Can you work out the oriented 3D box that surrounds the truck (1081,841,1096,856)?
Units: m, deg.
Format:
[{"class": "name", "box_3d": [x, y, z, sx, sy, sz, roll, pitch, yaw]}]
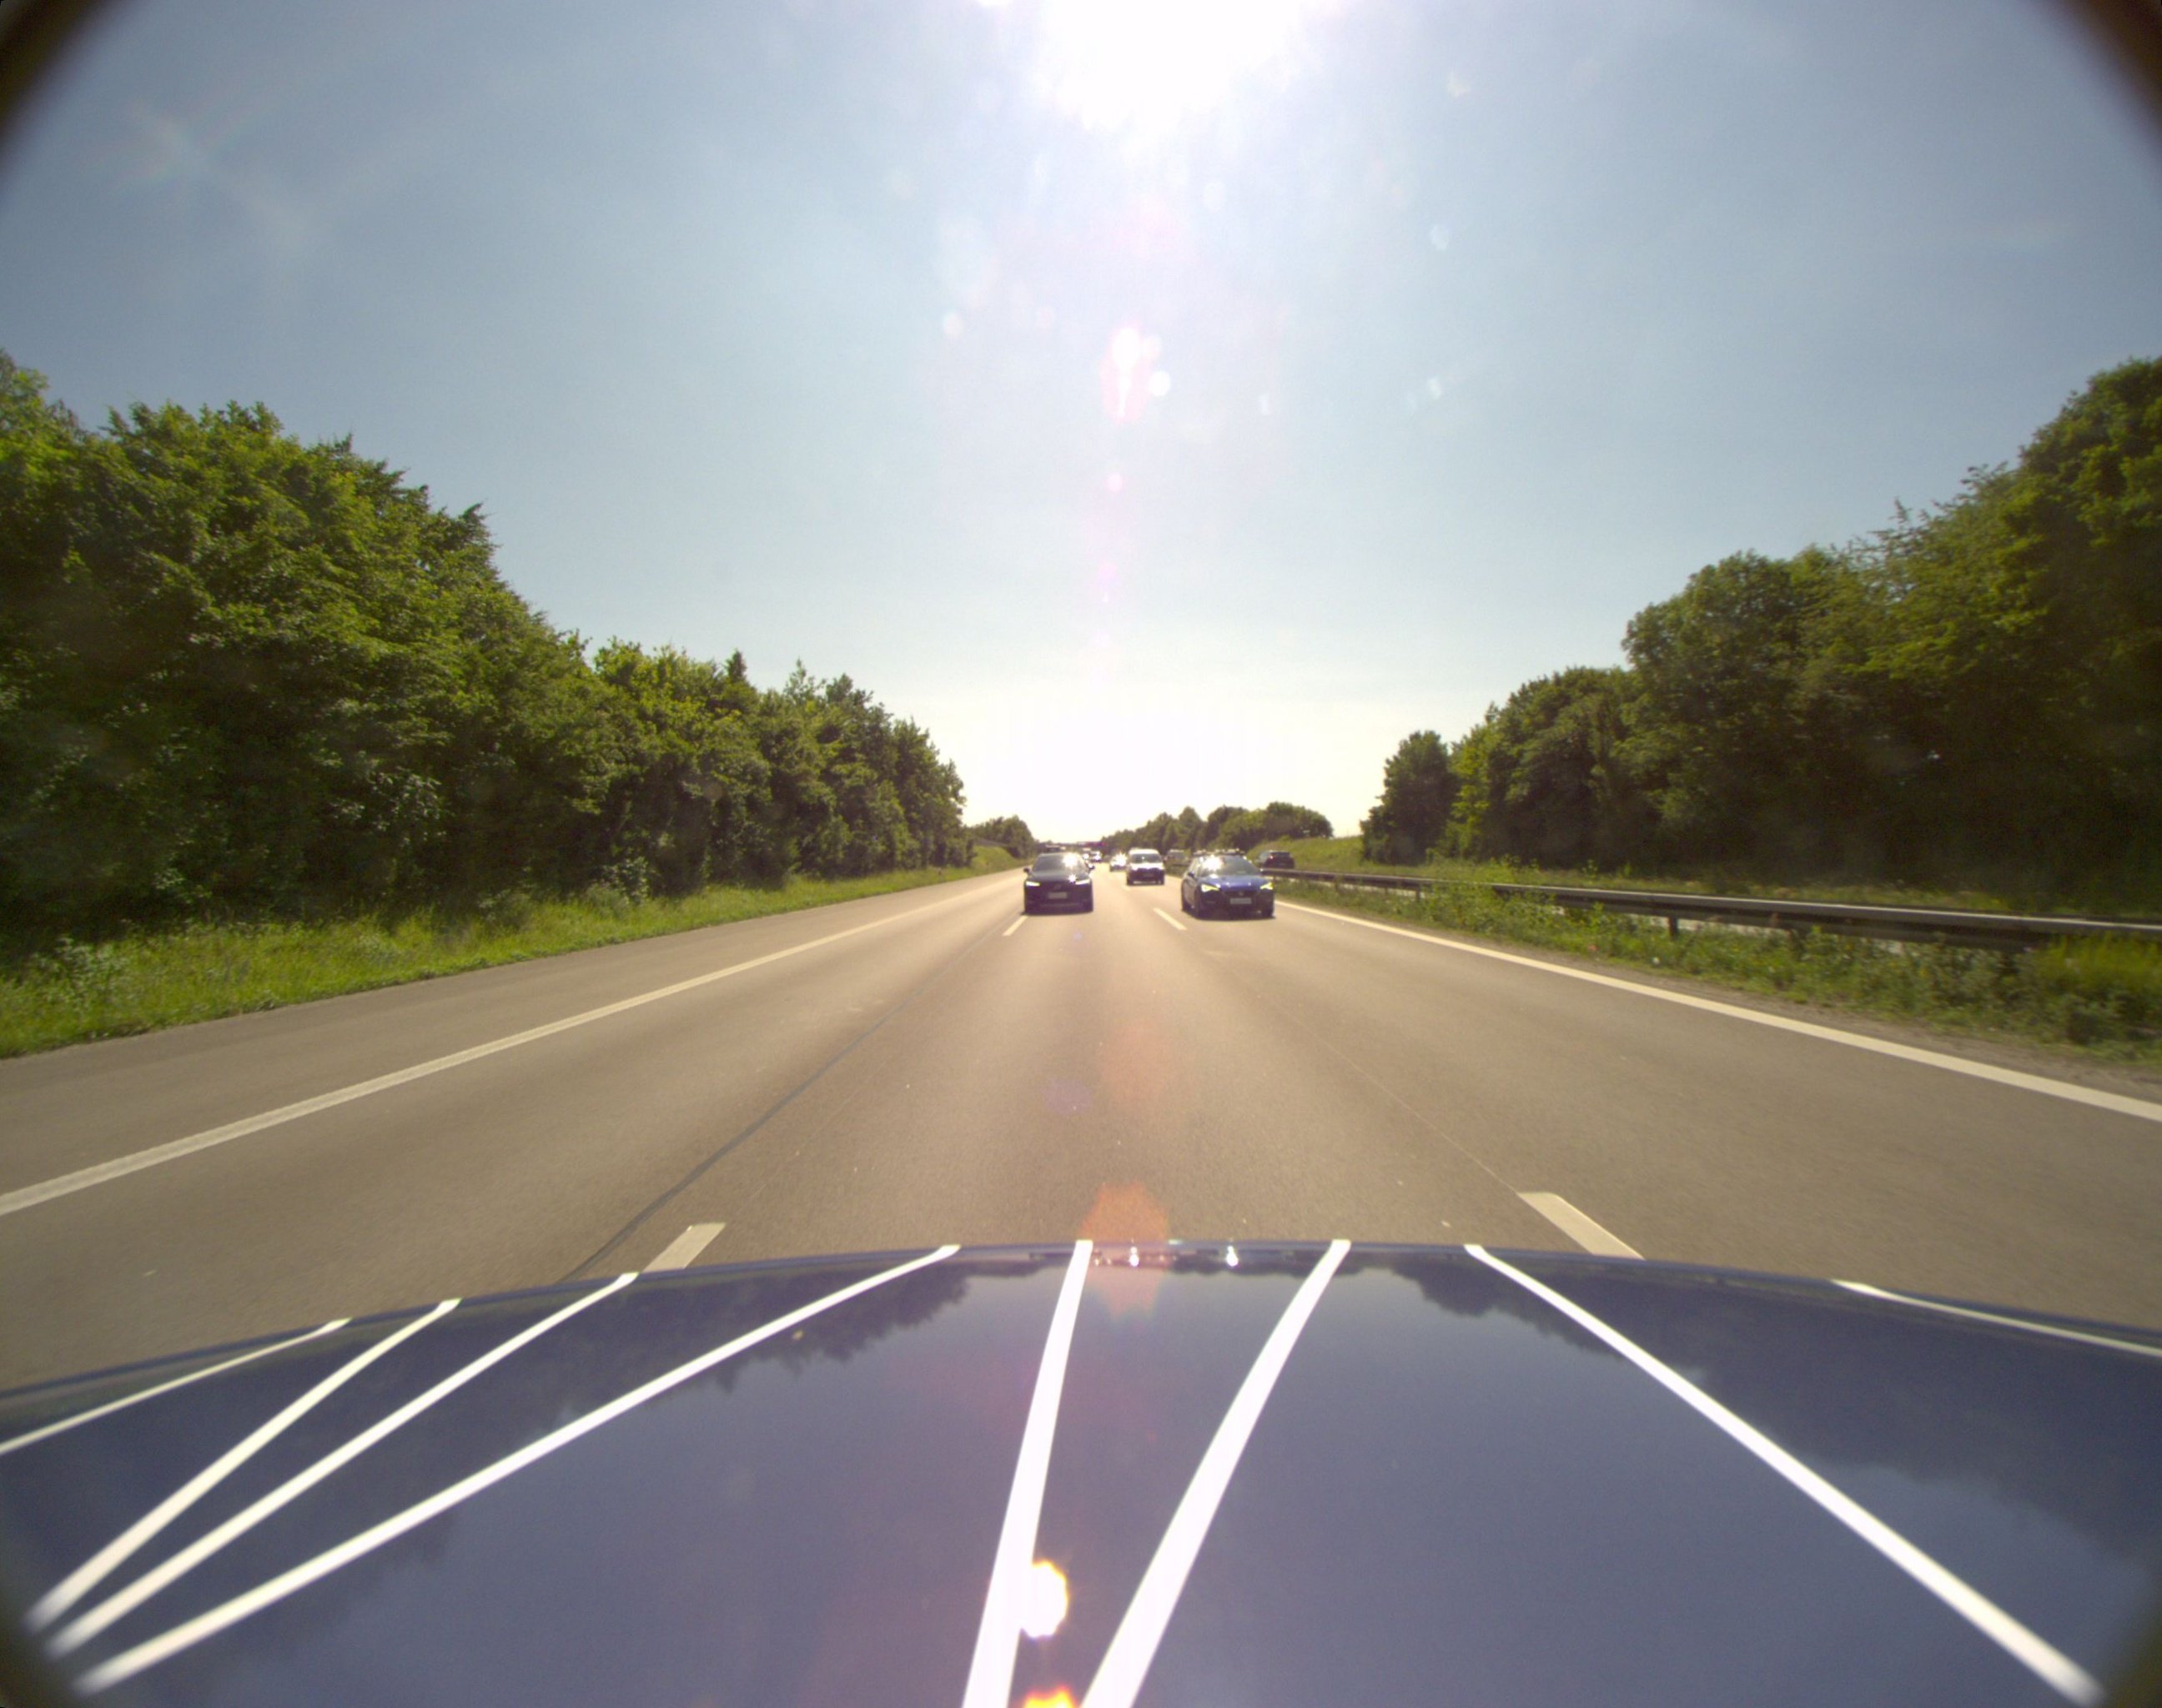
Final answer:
[{"class": "truck", "box_3d": [1.934, -1.312, 195.849, 3.243, 3.684, 10.932, 0, 0, -2]}]

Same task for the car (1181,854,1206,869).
[{"class": "car", "box_3d": [12.392, 0.806, 83.782, 1.998, 1.595, 5.089, -1, 0, 0]}]

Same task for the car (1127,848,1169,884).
[{"class": "car", "box_3d": [3.405, 0.583, 39.406, 1.870, 1.713, 3.980, -1, 1, 1]}]

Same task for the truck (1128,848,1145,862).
[{"class": "truck", "box_3d": [16.383, 0.251, 224.923, 3.220, 4.026, 16.670, 0, 0, -2]}]

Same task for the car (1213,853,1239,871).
[{"class": "car", "box_3d": [15.944, 0.812, 83.918, 1.998, 1.794, 4.695, -1, 1, 0]}]

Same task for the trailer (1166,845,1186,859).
[{"class": "trailer", "box_3d": [19.129, -0.470, 153.485, 2.738, 2.671, 8.629, -1, 0, 0]}]

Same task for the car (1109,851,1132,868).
[{"class": "car", "box_3d": [3.816, 0.510, 73.620, 1.998, 1.540, 3.999, -1, 1, 0]}]

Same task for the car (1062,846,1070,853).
[{"class": "car", "box_3d": [-3.784, -1.170, 190.796, 1.998, 1.856, 4.228, 0, 0, 1]}]

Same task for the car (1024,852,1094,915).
[{"class": "car", "box_3d": [-0.595, 0.786, 22.413, 1.812, 1.648, 4.000, -2, 0, 0]}]

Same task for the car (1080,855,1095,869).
[{"class": "car", "box_3d": [0.773, 0.948, 92.127, 1.743, 1.630, 3.844, 0, 1, 1]}]

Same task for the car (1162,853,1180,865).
[{"class": "car", "box_3d": [12.273, 0.658, 103.538, 1.854, 1.565, 4.421, -1, 1, 0]}]

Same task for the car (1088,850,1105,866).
[{"class": "car", "box_3d": [3.173, 0.826, 153.775, 3.242, 3.094, 7.603, 0, 0, 0]}]

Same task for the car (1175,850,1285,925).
[{"class": "car", "box_3d": [3.577, 0.745, 19.002, 1.905, 1.616, 4.240, -1, 0, 0]}]

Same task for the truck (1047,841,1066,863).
[{"class": "truck", "box_3d": [-3.863, -0.270, 121.019, 2.965, 3.388, 8.046, 0, 1, -1]}]

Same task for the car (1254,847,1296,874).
[{"class": "car", "box_3d": [12.609, 0.398, 49.657, 1.801, 1.657, 4.129, -1, 0, 2]}]
